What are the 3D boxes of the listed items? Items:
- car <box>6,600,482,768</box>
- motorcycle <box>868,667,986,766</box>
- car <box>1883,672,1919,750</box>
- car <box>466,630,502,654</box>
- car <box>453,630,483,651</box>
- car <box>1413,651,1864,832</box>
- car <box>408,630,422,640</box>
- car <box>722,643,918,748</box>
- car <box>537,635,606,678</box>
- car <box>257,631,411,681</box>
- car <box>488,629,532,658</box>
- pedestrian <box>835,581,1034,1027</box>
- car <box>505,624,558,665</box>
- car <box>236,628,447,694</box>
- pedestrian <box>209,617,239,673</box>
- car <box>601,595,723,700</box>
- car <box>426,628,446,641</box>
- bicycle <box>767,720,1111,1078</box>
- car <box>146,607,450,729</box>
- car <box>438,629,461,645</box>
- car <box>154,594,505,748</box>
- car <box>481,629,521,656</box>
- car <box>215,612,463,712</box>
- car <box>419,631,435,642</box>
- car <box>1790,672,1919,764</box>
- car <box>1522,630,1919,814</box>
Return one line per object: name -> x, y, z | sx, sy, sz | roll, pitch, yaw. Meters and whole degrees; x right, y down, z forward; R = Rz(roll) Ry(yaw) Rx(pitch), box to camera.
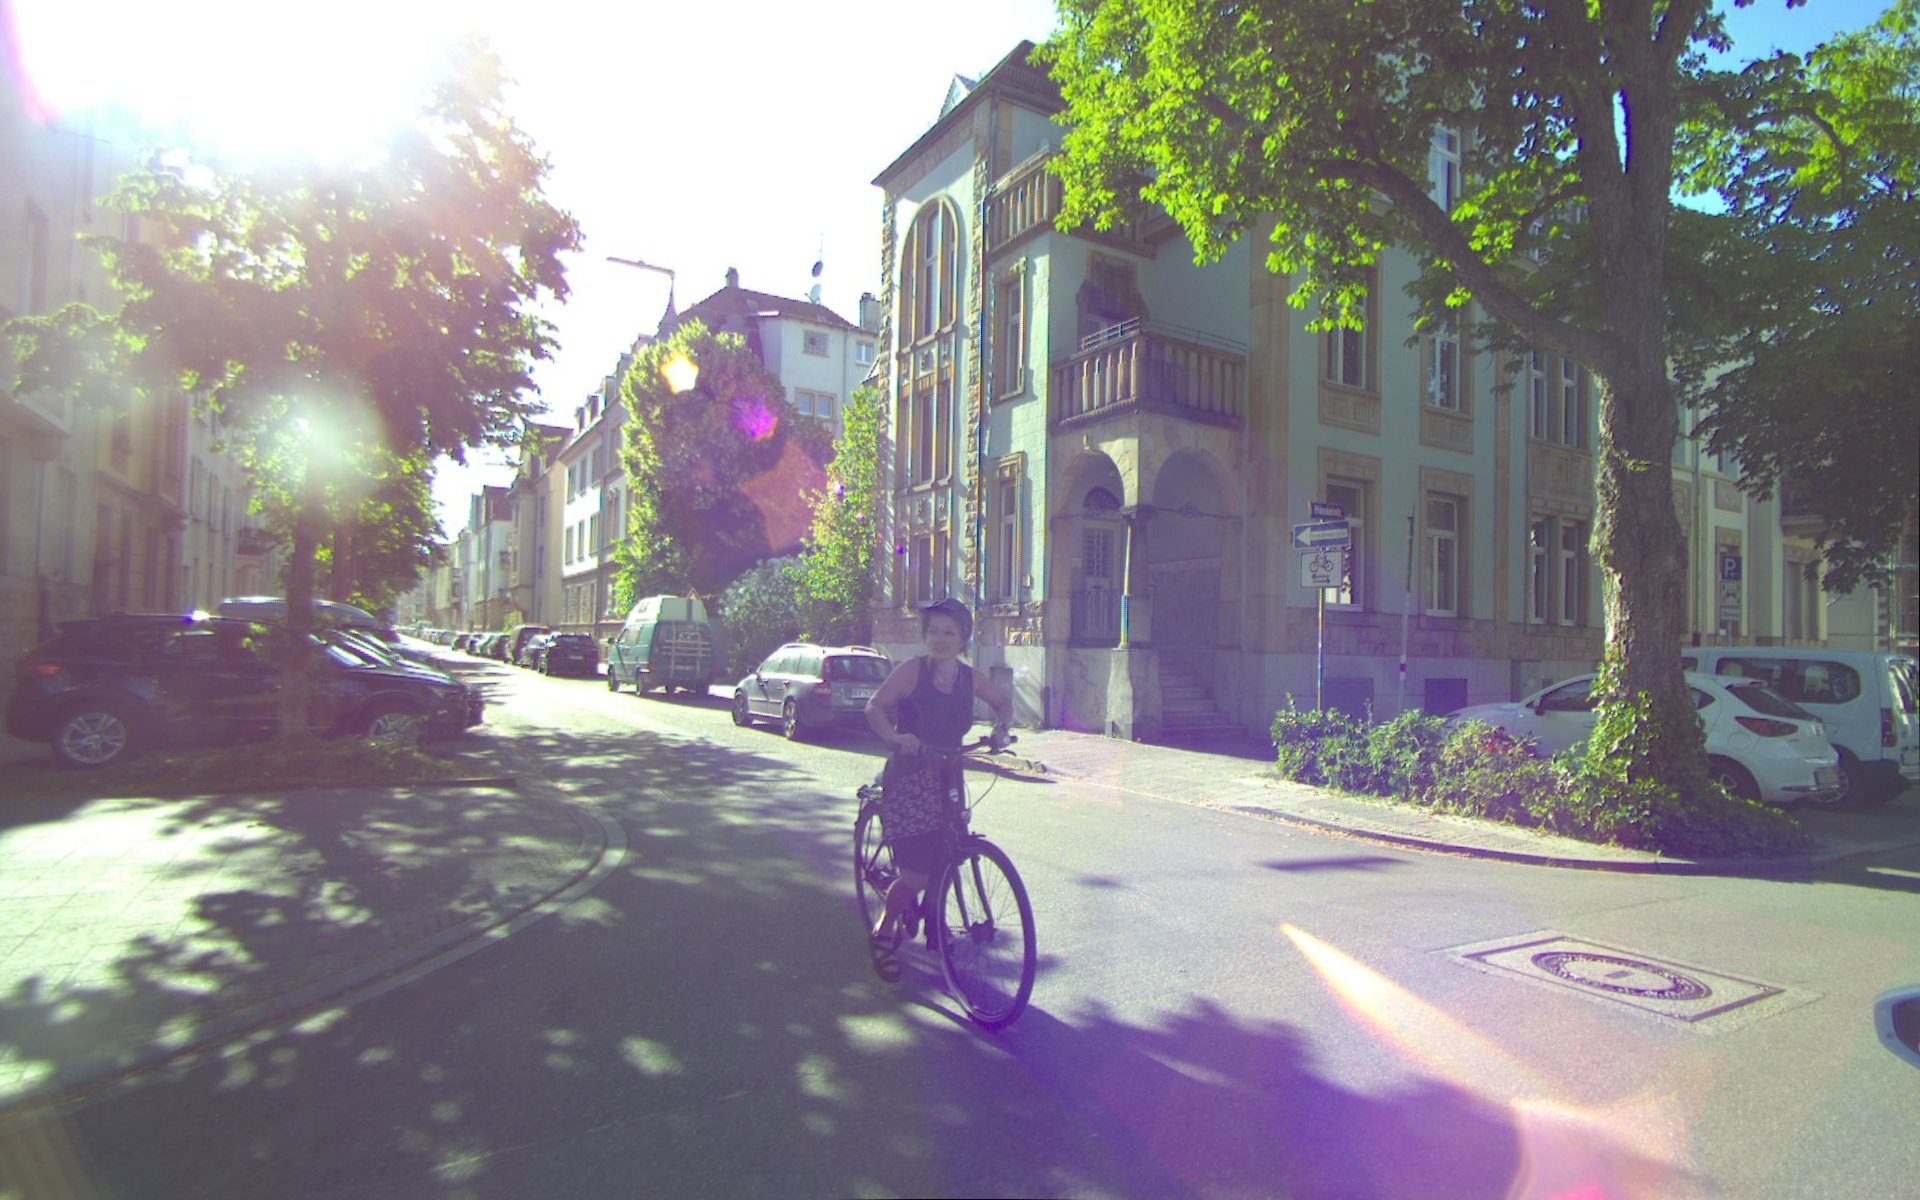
car -> -8.088, 0.949, 11.890 | 4.201, 1.661, 1.984 | 3, -3, -30
motorcycle -> -0.505, 1.584, 14.068 | 0.886, 1.191, 2.208 | 5, -4, -22
car -> 21.131, 2.279, 19.926 | 1.822, 1.572, 3.956 | 3, -3, -39
car -> -31.797, 2.774, 67.015 | 1.781, 1.484, 4.386 | 3, -3, -30
car -> -38.069, 3.132, 77.626 | 1.781, 1.484, 4.386 | 3, -3, -30
car -> 7.683, 1.495, 11.743 | 1.780, 1.483, 3.961 | 4, -1, -34
car -> -86.302, 5.523, 159.063 | 1.781, 1.484, 4.386 | 3, -3, -30
car -> -2.522, 1.523, 17.070 | 1.781, 1.484, 4.386 | 3, -3, -30
car -> -14.892, 2.116, 38.366 | 1.781, 1.484, 4.386 | 3, -3, -30
car -> -19.623, 1.771, 31.686 | 3.953, 1.438, 1.791 | 3, -3, -30
car -> -24.903, 2.373, 55.522 | 1.781, 1.484, 4.386 | 3, -3, -30
pedestrian -> -0.119, 0.810, 4.335 | 0.644, 1.716, 0.628 | 2, -4, -27
car -> -20.699, 2.134, 48.446 | 1.781, 1.868, 4.386 | 3, -3, -30
car -> -14.168, 1.423, 23.255 | 3.953, 1.405, 1.763 | 3, -3, -30
pedestrian -> -21.210, 1.306, 28.940 | 0.569, 1.583, 0.479 | 3, -3, -29
car -> -7.909, 1.228, 26.440 | 1.784, 2.530, 4.380 | 3, -3, -34
car -> -60.993, 4.023, 116.868 | 1.781, 1.484, 4.386 | 3, -3, -30
bicycle -> -0.212, 1.140, 4.486 | 0.750, 1.080, 1.984 | 2, -4, -27
car -> -10.494, 1.090, 16.264 | 3.846, 1.757, 1.788 | 3, -3, -30
car -> -50.070, 3.592, 98.490 | 1.781, 1.484, 4.386 | 3, -3, -30
car -> -8.859, 1.003, 14.479 | 3.954, 1.924, 1.984 | 3, -3, -30
car -> -27.708, 2.542, 60.590 | 1.781, 1.484, 4.386 | 3, -3, -30
car -> -11.853, 1.201, 19.427 | 3.846, 1.757, 1.788 | 3, -3, -30
car -> -75.343, 5.114, 142.024 | 1.781, 1.484, 4.386 | 3, -3, -30
car -> 17.139, 2.068, 17.324 | 1.841, 1.488, 3.970 | 2, -2, -29
car -> 9.684, 1.401, 12.827 | 1.780, 1.784, 3.961 | 4, -1, -34
